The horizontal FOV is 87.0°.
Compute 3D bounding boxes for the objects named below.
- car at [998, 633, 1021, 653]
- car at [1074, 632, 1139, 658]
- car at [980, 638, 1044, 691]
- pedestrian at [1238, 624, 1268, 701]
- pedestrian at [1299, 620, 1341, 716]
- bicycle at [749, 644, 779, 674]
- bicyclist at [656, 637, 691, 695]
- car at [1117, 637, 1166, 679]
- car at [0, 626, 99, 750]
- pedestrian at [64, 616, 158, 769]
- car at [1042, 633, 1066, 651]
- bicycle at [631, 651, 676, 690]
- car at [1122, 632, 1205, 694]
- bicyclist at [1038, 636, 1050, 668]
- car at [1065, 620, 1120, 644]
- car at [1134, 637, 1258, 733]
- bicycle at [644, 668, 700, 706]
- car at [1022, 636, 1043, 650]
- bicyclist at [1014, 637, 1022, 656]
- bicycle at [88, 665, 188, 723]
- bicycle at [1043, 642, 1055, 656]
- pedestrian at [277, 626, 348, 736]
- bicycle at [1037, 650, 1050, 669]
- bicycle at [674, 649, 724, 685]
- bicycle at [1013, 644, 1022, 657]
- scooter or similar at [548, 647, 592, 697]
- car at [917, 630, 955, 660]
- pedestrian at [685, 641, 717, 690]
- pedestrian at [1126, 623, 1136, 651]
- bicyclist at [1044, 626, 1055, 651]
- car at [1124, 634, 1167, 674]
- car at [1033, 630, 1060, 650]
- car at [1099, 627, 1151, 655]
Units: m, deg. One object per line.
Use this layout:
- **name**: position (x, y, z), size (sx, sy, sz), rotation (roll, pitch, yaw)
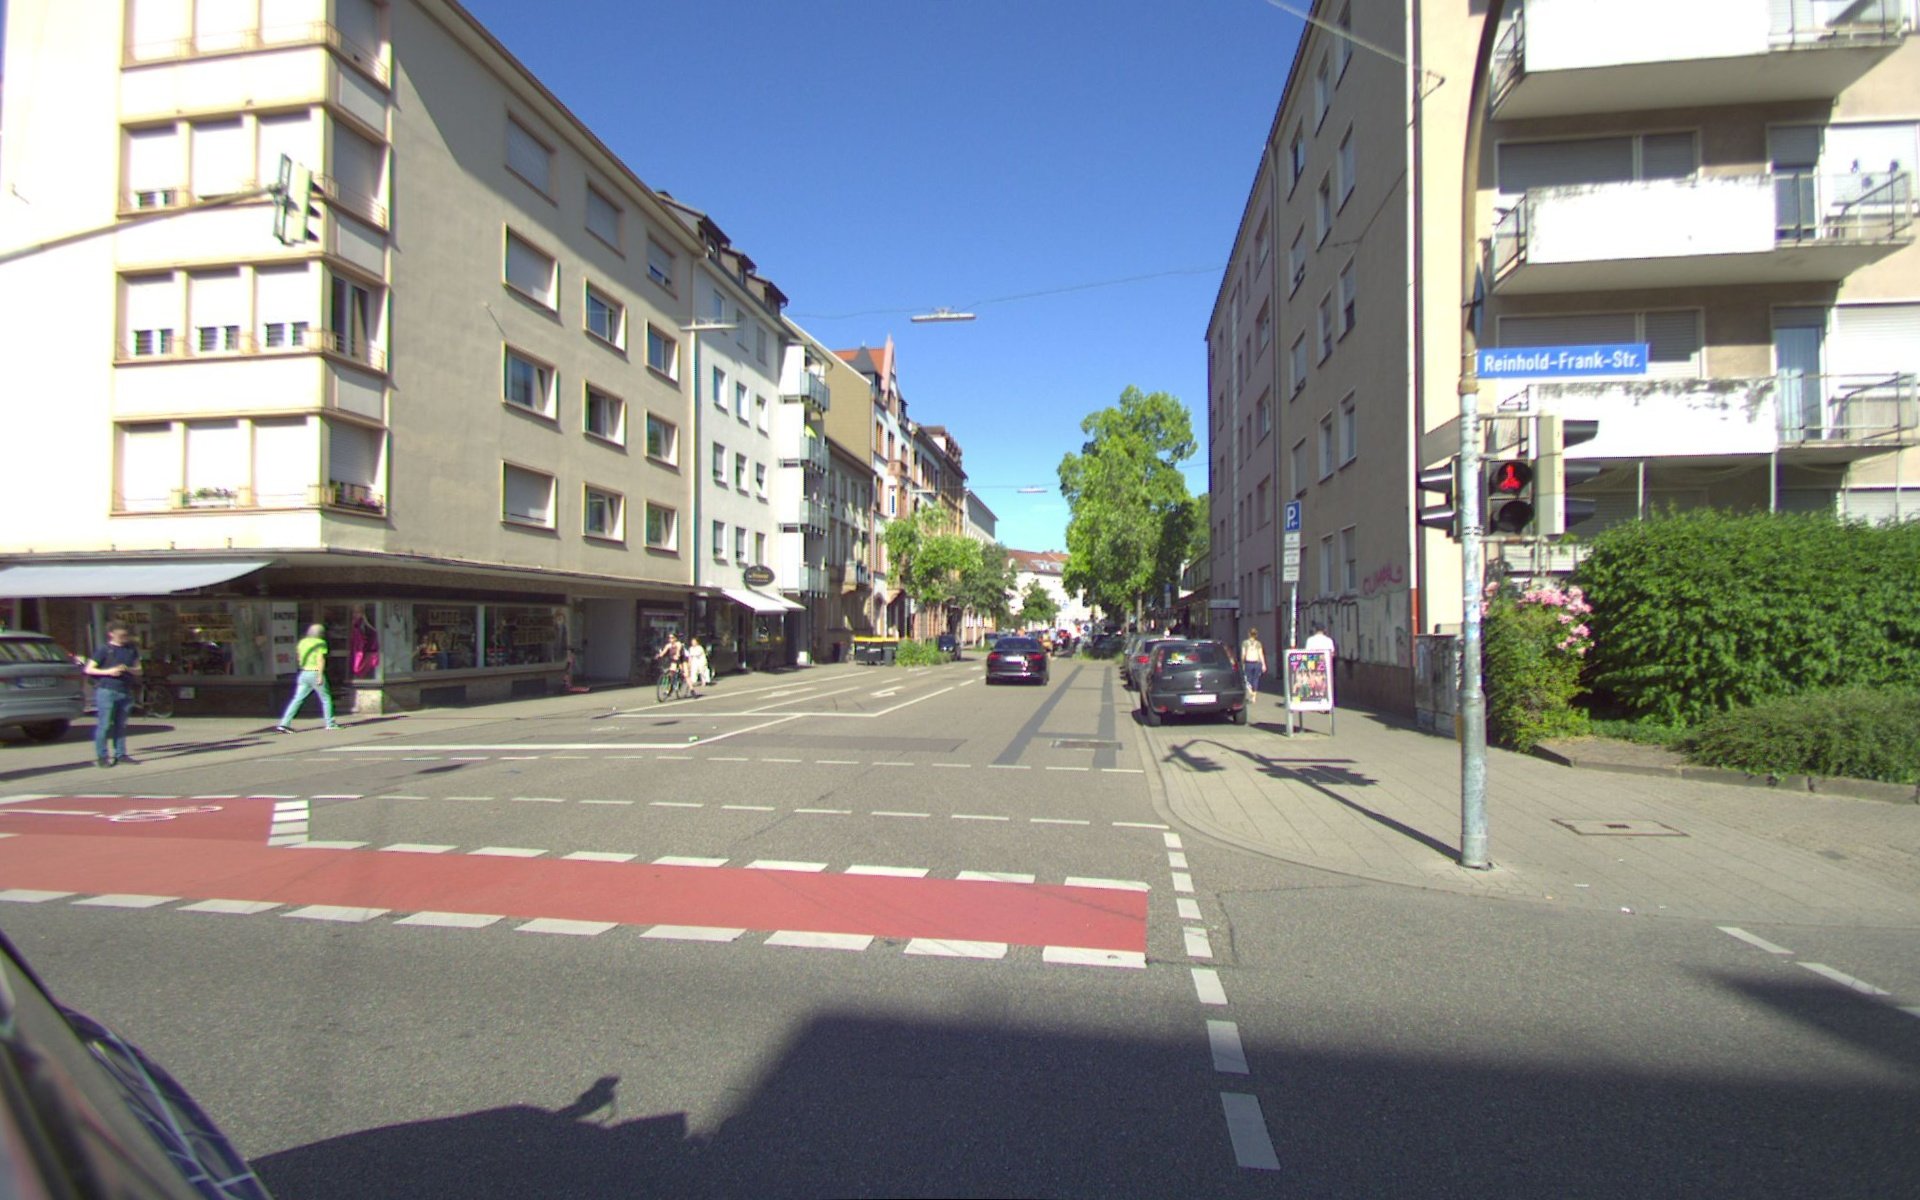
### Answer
- **car**: position (4.111, 3.512, 83.783), size (1.610, 1.608, 3.537), rotation (-1, -2, 8)
- **car**: position (9.166, 2.806, 63.311), size (3.958, 1.564, 1.906), rotation (-1, -2, 11)
- **car**: position (1.669, 1.913, 31.019), size (1.788, 1.424, 4.419), rotation (1, -2, 5)
- **pedestrian**: position (6.149, 1.311, 21.257), size (0.527, 1.594, 0.561), rotation (-1, -2, 10)
- **pedestrian**: position (6.546, 1.223, 18.426), size (0.568, 1.702, 0.667), rotation (-1, -2, 10)
- **bicycle**: position (-7.835, 2.346, 40.462), size (0.592, 1.152, 1.769), rotation (2, -2, 9)
- **bicyclist**: position (-6.961, 1.592, 24.579), size (0.577, 1.387, 0.662), rotation (-1, -2, 13)
- **car**: position (7.050, 2.225, 39.377), size (1.709, 1.478, 4.144), rotation (-3, -2, 10)
- **car**: position (-14.907, 1.233, 14.486), size (3.955, 1.675, 1.820), rotation (-1, -2, 10)
- **pedestrian**: position (-10.428, 1.116, 12.449), size (0.619, 1.836, 0.606), rotation (0, -2, -6)
- **car**: position (8.250, 3.660, 88.371), size (1.890, 1.564, 3.990), rotation (-1, -2, 8)
- **bicycle**: position (-9.174, 2.102, 30.352), size (0.403, 1.093, 1.792), rotation (2, -2, 13)
- **car**: position (5.567, 1.687, 28.218), size (1.807, 1.515, 4.790), rotation (-3, -2, 7)
- **bicyclist**: position (4.072, 2.517, 49.022), size (0.538, 1.532, 0.772), rotation (-1, -2, 9)
- **car**: position (13.717, 3.292, 104.766), size (5.491, 2.411, 1.975), rotation (-1, -2, 5)
- **car**: position (4.092, 1.436, 18.111), size (1.676, 1.459, 3.848), rotation (-3, -2, 7)
- **bicycle**: position (-6.962, 2.093, 24.545), size (0.577, 0.812, 1.702), rotation (-1, -2, 13)
- **car**: position (7.006, 4.139, 97.748), size (1.611, 1.287, 3.535), rotation (-1, -2, 10)
- **bicyclist**: position (4.317, 3.455, 75.803), size (0.538, 1.402, 0.786), rotation (-1, -2, 8)
- **bicycle**: position (-15.402, 1.742, 18.964), size (1.881, 1.025, 0.563), rotation (-1, -2, 20)
- **bicycle**: position (6.038, 3.291, 68.286), size (0.674, 0.959, 1.928), rotation (-1, -2, 8)
- **pedestrian**: position (-10.666, 1.314, 16.686), size (0.657, 1.771, 0.759), rotation (-2, -2, 14)
- **bicycle**: position (4.037, 2.864, 48.823), size (0.538, 0.909, 1.821), rotation (-1, -2, 8)
- **bicycle**: position (-8.413, 2.154, 32.614), size (1.469, 1.115, 0.726), rotation (1, -2, -23)
- **bicycle**: position (4.293, 3.789, 75.644), size (0.538, 0.909, 1.821), rotation (-1, -2, 8)
- **scooter or similar**: position (-9.933, 1.819, 25.805), size (0.521, 1.234, 1.225), rotation (-1, -2, 8)
- **car**: position (-1.315, 2.543, 57.518), size (1.610, 1.608, 3.537), rotation (-1, -2, 8)
- **pedestrian**: position (-7.843, 1.981, 30.643), size (0.766, 1.453, 0.624), rotation (0, -2, 4)
- **pedestrian**: position (10.903, 2.362, 64.650), size (0.616, 1.820, 0.501), rotation (-1, -2, 10)
- **bicyclist**: position (6.039, 2.605, 68.274), size (0.674, 1.643, 0.896), rotation (-1, -2, 9)
- **car**: position (8.192, 2.362, 44.927), size (1.709, 1.589, 4.144), rotation (-3, -2, 10)
- **car**: position (6.927, 3.202, 80.916), size (1.890, 1.564, 3.990), rotation (-1, -2, 8)
- **car**: position (12.576, 3.118, 77.146), size (3.838, 2.058, 1.906), rotation (-1, -2, 11)
